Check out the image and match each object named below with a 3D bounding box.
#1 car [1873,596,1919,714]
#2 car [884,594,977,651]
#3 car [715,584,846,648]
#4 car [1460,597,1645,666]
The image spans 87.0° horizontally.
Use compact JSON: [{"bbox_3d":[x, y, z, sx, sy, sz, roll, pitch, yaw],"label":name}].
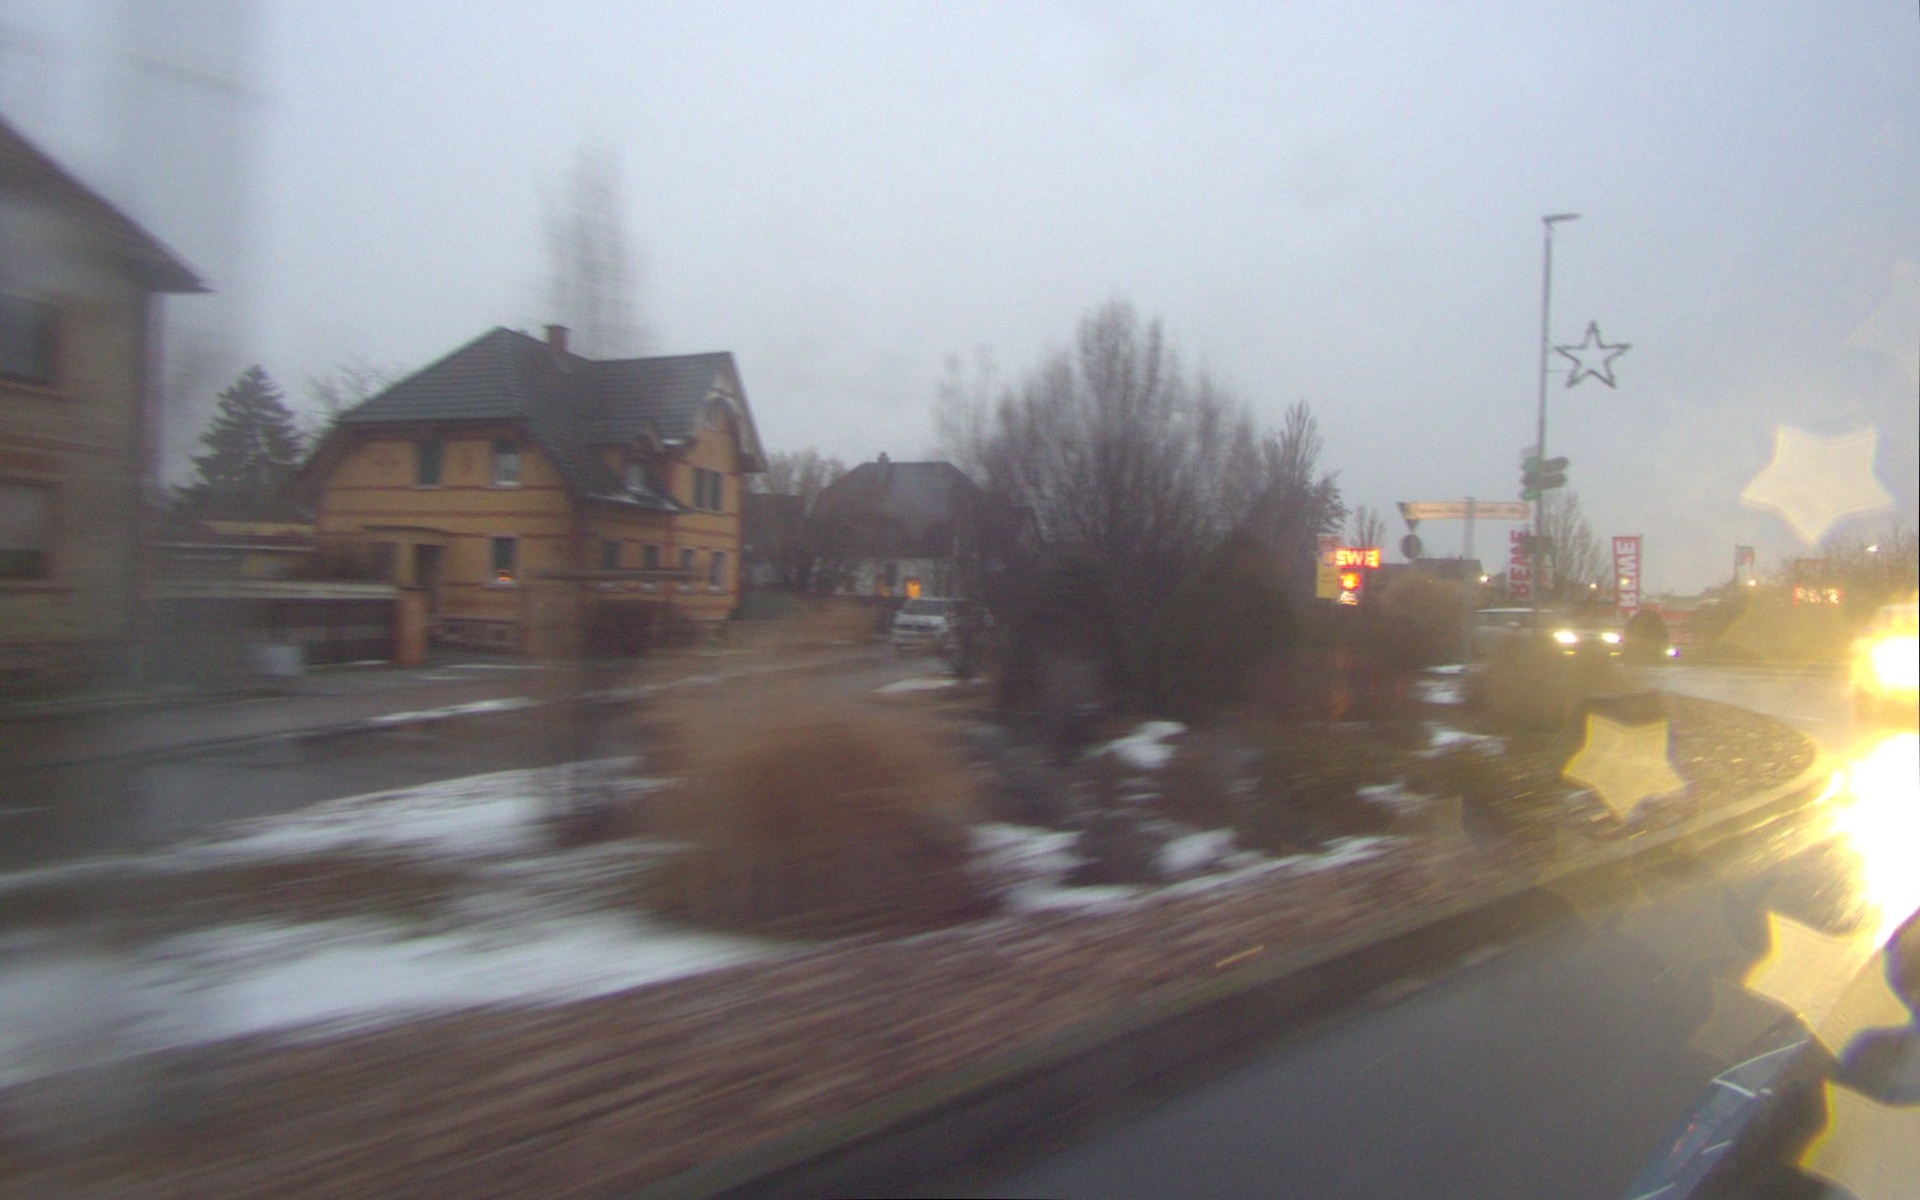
[{"bbox_3d":[14.030,0.695,14.078,1.803,1.479,4.184,0,0,40],"label":"car"},{"bbox_3d":[-0.972,0.798,37.219,1.912,1.943,5.219,0,-1,16],"label":"car"},{"bbox_3d":[-5.944,0.444,34.372,2.334,1.888,5.307,2,2,15],"label":"car"},{"bbox_3d":[14.113,0.722,24.356,1.628,1.511,3.718,0,-1,-16],"label":"car"}]
